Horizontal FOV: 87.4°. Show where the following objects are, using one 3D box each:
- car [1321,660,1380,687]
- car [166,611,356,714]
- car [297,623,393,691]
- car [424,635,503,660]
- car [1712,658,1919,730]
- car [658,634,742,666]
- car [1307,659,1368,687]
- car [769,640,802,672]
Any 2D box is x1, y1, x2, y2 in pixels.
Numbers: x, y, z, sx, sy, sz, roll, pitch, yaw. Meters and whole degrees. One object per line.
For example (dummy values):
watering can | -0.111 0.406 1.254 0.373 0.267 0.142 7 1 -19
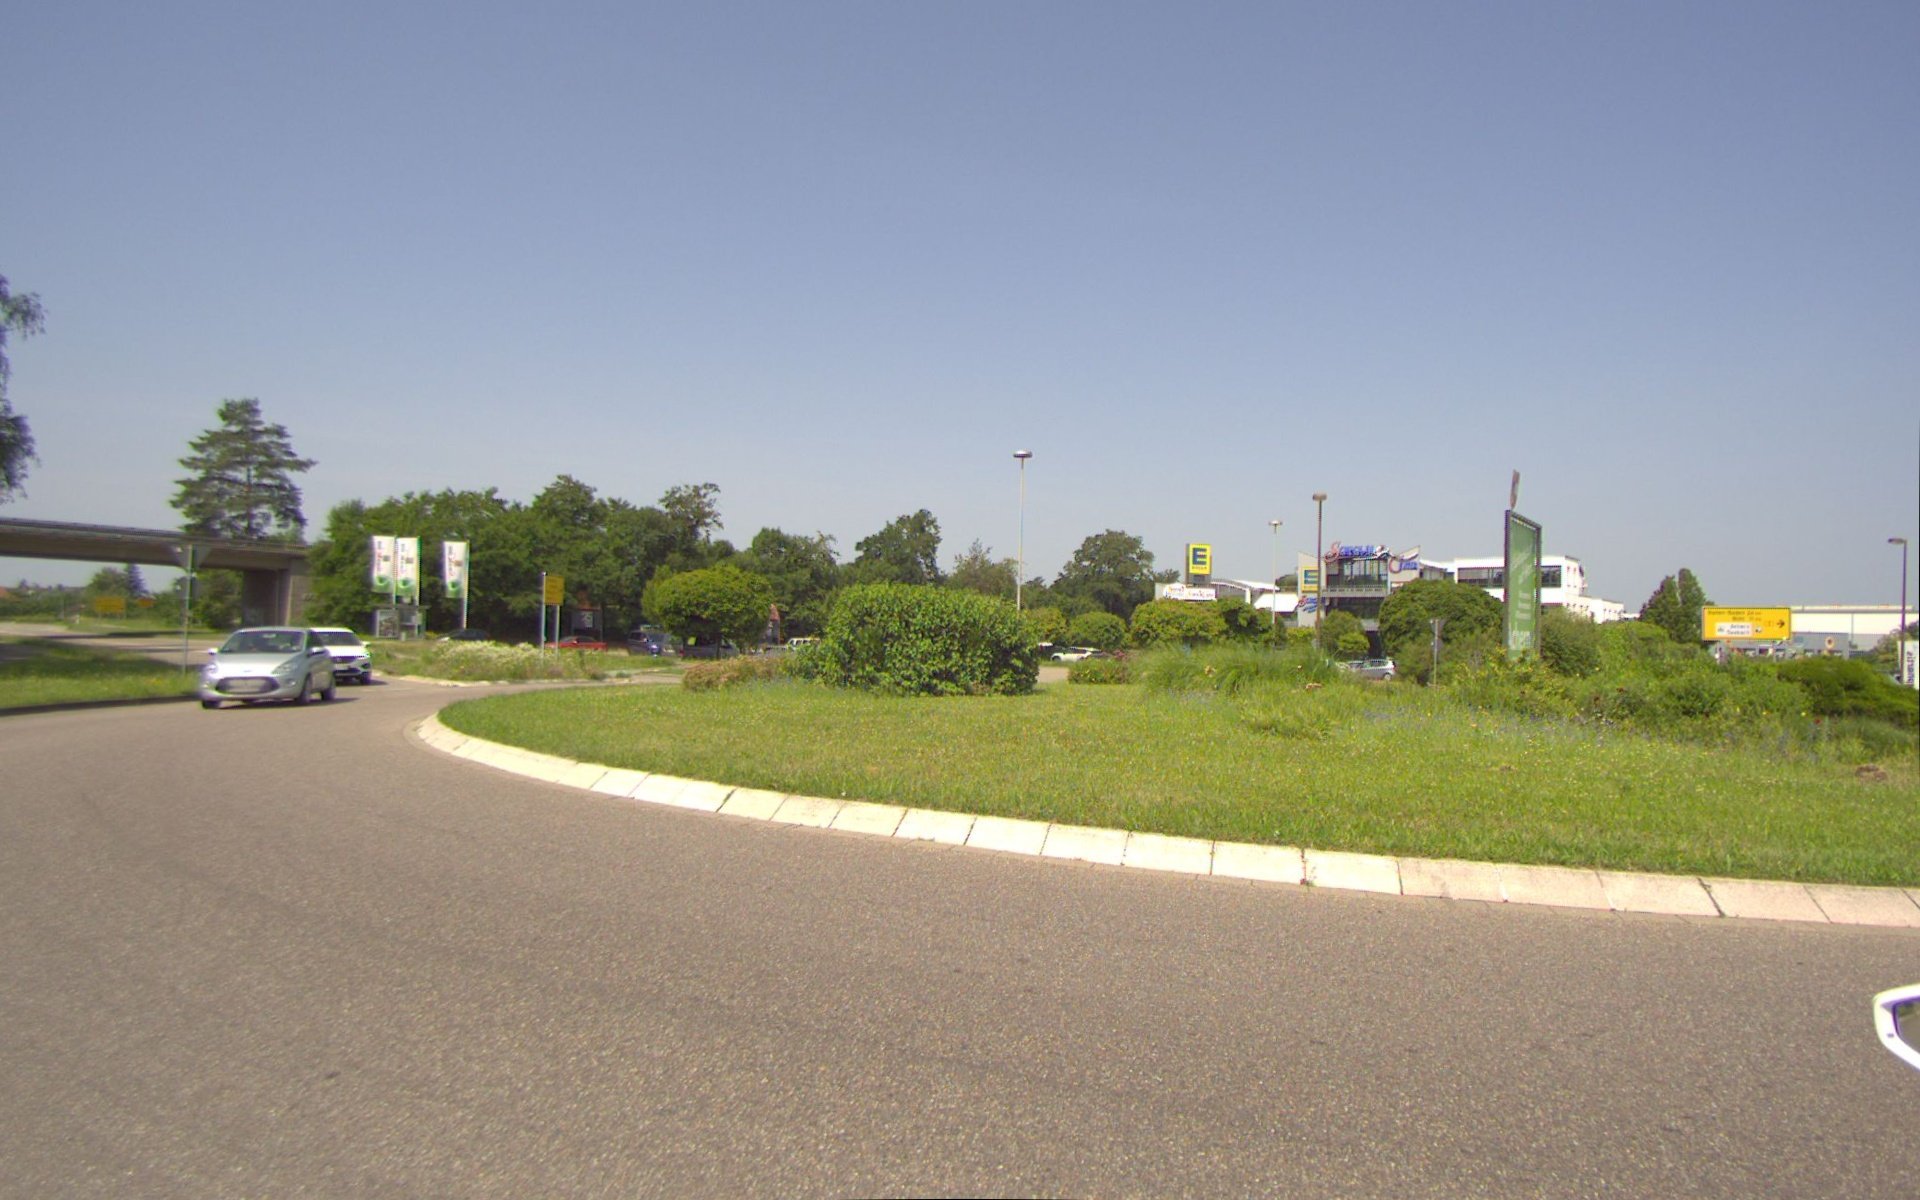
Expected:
car | 25.715 4.831 66.242 1.542 1.594 3.288 5 -4 -37
car | -13.342 1.137 19.489 2.098 1.637 4.177 2 0 -22
car | -18.343 1.643 29.912 2.175 1.674 5.075 4 -2 -33
car | -35.804 3.440 72.527 1.997 1.674 4.622 2 -2 37
car | 22.418 2.405 26.280 1.760 1.550 4.064 4 -2 -23
car | -14.492 2.800 56.306 1.845 1.581 4.395 2 -3 33
car | 24.095 4.647 64.158 1.542 1.594 3.288 5 -4 -37
car | -9.431 3.007 54.379 1.557 1.517 4.559 4 -2 -9
